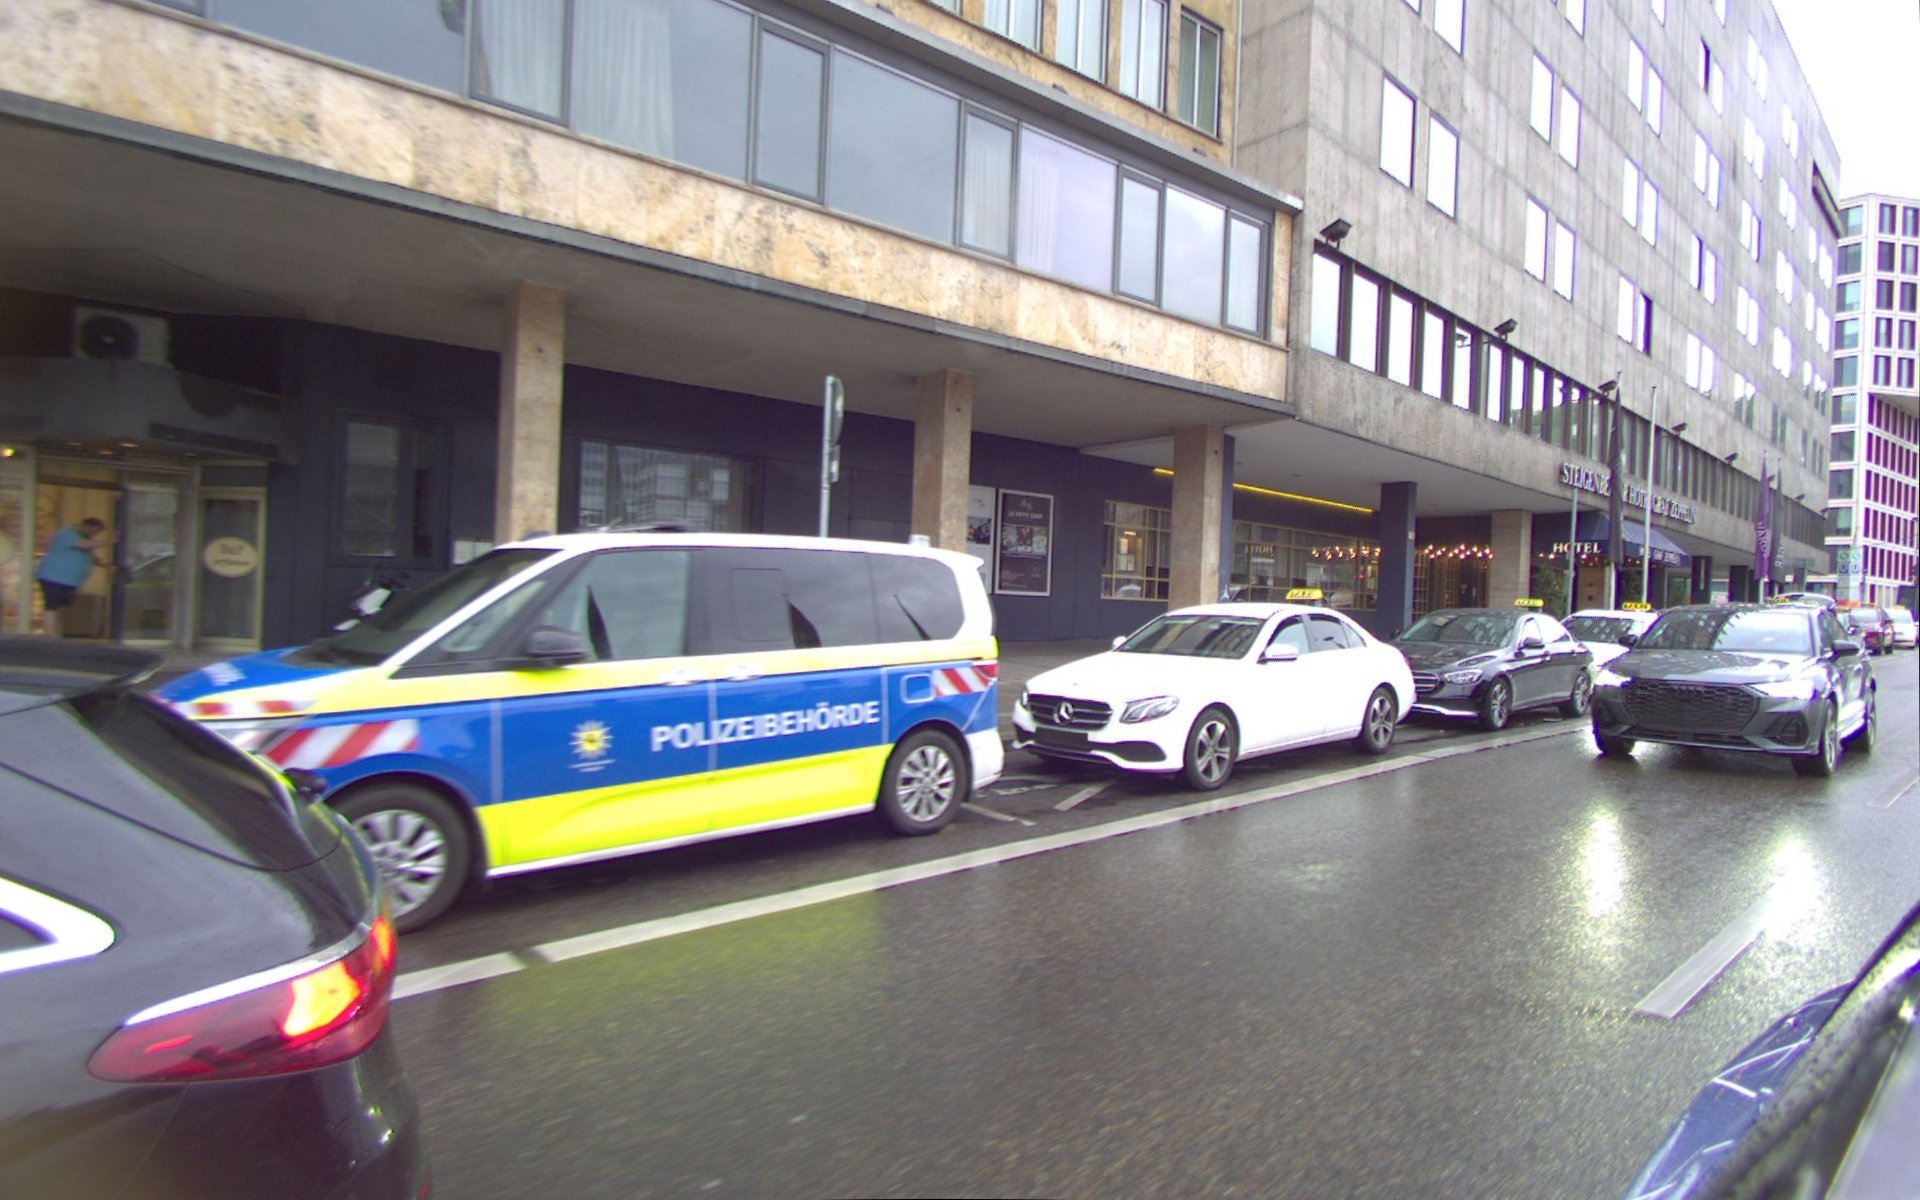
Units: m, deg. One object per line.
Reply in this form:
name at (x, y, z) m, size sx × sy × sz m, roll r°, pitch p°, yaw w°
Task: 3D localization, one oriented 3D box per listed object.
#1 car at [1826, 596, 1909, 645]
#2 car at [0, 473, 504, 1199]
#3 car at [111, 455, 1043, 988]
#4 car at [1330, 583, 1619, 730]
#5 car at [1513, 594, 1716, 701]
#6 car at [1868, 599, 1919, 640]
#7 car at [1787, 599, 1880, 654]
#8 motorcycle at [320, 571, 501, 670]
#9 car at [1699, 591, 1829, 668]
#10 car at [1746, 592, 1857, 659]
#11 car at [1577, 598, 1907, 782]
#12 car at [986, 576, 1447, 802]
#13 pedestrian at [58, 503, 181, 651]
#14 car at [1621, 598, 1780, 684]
car at (31.921, 0.679, 35.564) m, size 3.932 × 1.634 × 1.729 m, roll 0°, pitch 0°, yaw -41°
car at (-2.931, 0.625, 0.598) m, size 4.549 × 1.520 × 1.796 m, roll 0°, pitch 0°, yaw -42°
car at (-1.860, 0.431, 6.009) m, size 4.850 × 1.944 × 1.877 m, roll 0°, pitch 0°, yaw -41°
car at (7.064, 0.626, 13.650) m, size 4.730 × 1.658 × 1.877 m, roll 0°, pitch 0°, yaw -41°
car at (11.375, 0.699, 17.456) m, size 4.730 × 1.612 × 1.729 m, roll 0°, pitch 0°, yaw -41°
car at (39.464, 0.785, 42.343) m, size 3.932 × 1.634 × 1.729 m, roll 0°, pitch 0°, yaw -41°
car at (27.955, 0.793, 32.369) m, size 3.932 × 1.634 × 1.729 m, roll 0°, pitch 0°, yaw -41°
motorcycle at (-7.255, 0.257, 13.411) m, size 2.063 × 1.233 × 0.569 m, roll 0°, pitch 0°, yaw -33°
car at (20.158, 0.669, 25.307) m, size 4.730 × 1.765 × 1.729 m, roll 0°, pitch 0°, yaw -41°
car at (23.945, 0.655, 28.736) m, size 4.730 × 1.765 × 1.729 m, roll 0°, pitch 0°, yaw -41°
car at (8.218, 0.742, 10.500) m, size 4.266 × 1.520 × 1.882 m, roll 0°, pitch 0°, yaw -40°
car at (2.683, 0.642, 9.764) m, size 4.924 × 1.658 × 1.877 m, roll 0°, pitch 0°, yaw -41°
pedestrian at (-10.751, -0.283, 12.995) m, size 1.114 × 1.813 × 0.801 m, roll 0°, pitch 0°, yaw -33°
car at (15.634, 0.762, 21.264) m, size 4.730 × 1.612 × 1.729 m, roll 0°, pitch 0°, yaw -41°
